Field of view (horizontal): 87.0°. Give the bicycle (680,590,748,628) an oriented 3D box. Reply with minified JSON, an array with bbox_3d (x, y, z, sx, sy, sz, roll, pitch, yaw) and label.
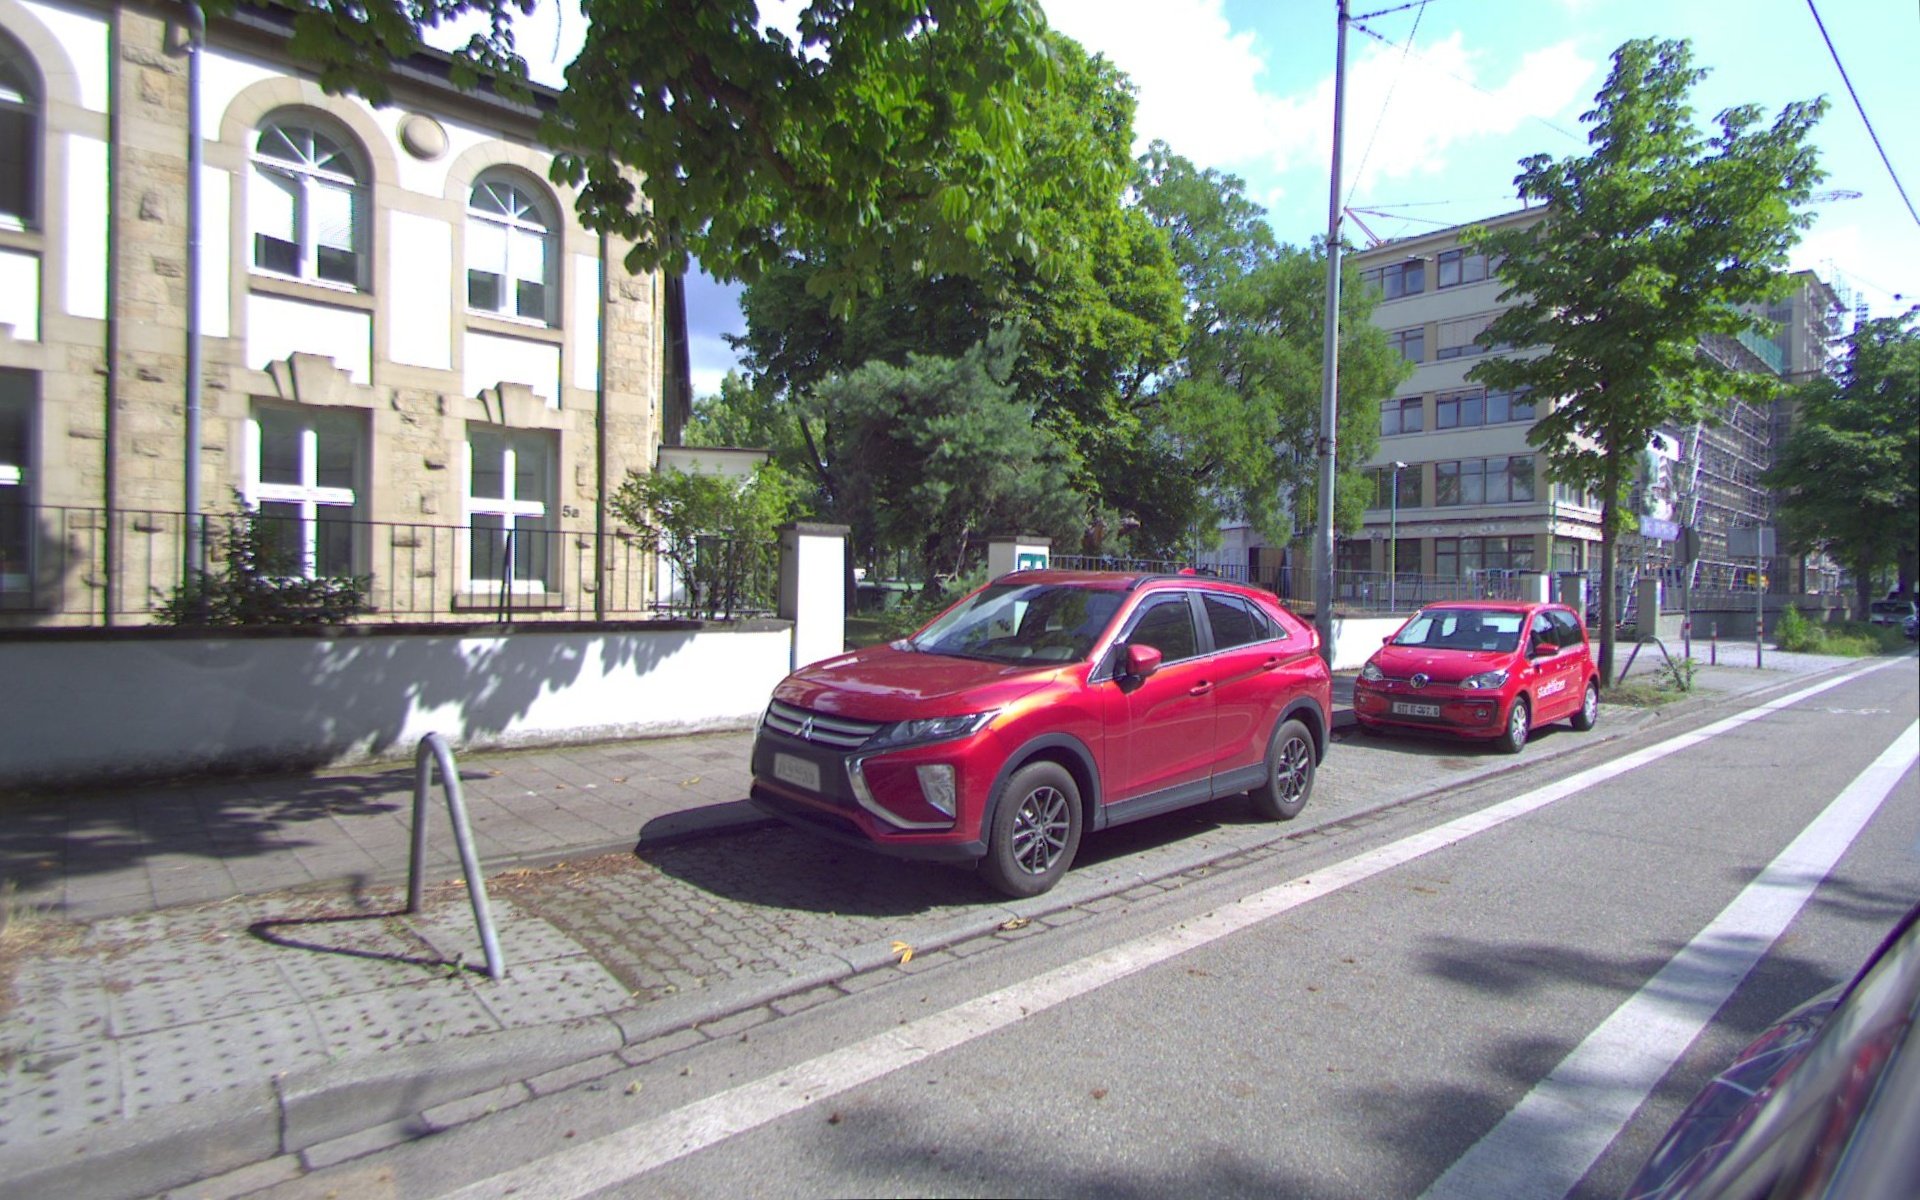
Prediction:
[{"bbox_3d":[-6.818,0.252,28.041,1.782,1.000,0.428,1,-1,-15],"label":"bicycle"}]

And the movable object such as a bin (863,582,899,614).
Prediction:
[{"bbox_3d":[-3.262,-0.089,41.774,1.229,1.281,1.002,1,1,-18],"label":"movable object such as a bin"}]

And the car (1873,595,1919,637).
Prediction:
[{"bbox_3d":[38.793,0.625,41.400,4.165,1.627,1.747,-1,-2,-43],"label":"car"}]

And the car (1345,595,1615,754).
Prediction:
[{"bbox_3d":[5.895,0.690,11.312,3.536,1.446,1.602,-1,1,-43],"label":"car"}]

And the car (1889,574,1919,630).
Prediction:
[{"bbox_3d":[46.240,0.054,48.295,5.300,2.593,2.333,-1,-2,-43],"label":"car"}]

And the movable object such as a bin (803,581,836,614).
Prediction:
[{"bbox_3d":[-5.723,-0.116,41.116,1.166,1.309,1.005,1,1,-18],"label":"movable object such as a bin"}]

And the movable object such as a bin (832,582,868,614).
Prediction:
[{"bbox_3d":[-4.502,-0.085,41.464,1.247,1.235,1.031,1,1,-18],"label":"movable object such as a bin"}]

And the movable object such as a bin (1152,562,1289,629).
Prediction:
[{"bbox_3d":[10.898,-0.191,42.452,5.357,2.474,1.990,3,0,16],"label":"movable object such as a bin"}]

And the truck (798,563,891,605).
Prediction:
[{"bbox_3d":[-8.274,-1.096,72.789,6.425,2.814,2.002,0,-2,-29],"label":"truck"}]

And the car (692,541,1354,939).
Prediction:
[{"bbox_3d":[0.660,0.550,6.463,4.212,1.697,1.877,0,2,-45],"label":"car"}]

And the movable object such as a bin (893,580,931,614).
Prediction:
[{"bbox_3d":[-2.006,-0.149,42.276,1.338,1.369,1.096,1,1,-18],"label":"movable object such as a bin"}]
